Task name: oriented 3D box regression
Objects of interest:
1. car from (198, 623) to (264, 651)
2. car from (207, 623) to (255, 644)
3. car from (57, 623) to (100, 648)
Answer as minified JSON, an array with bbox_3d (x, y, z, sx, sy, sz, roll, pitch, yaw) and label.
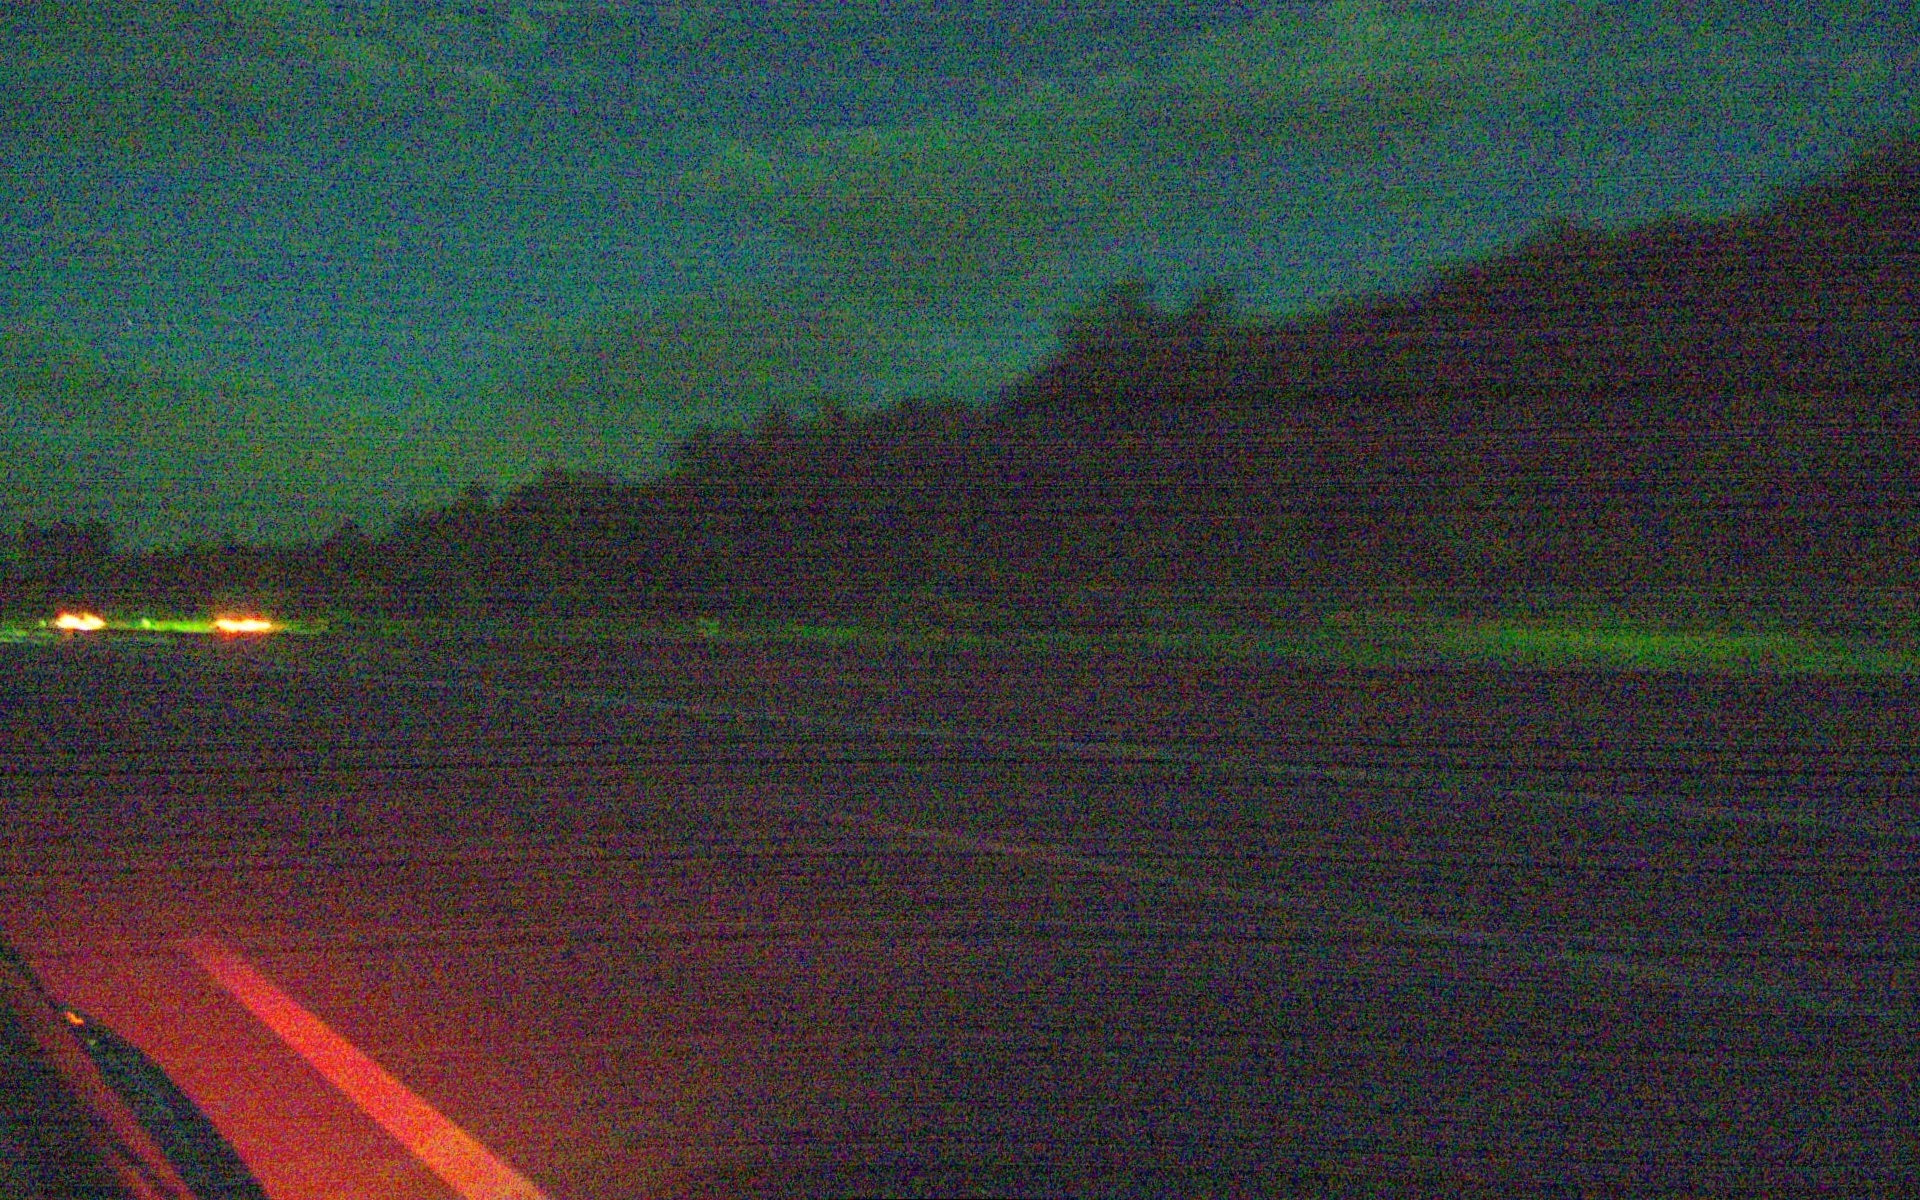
[{"bbox_3d":[-42.864,2.139,59.469,4.925,1.491,1.974,-1,-1,39],"label":"car"},{"bbox_3d":[-53.968,2.451,74.916,4.398,1.519,1.973,-1,-1,41],"label":"car"},{"bbox_3d":[-69.045,2.758,79.259,4.678,1.804,1.972,-1,-1,42],"label":"car"}]
